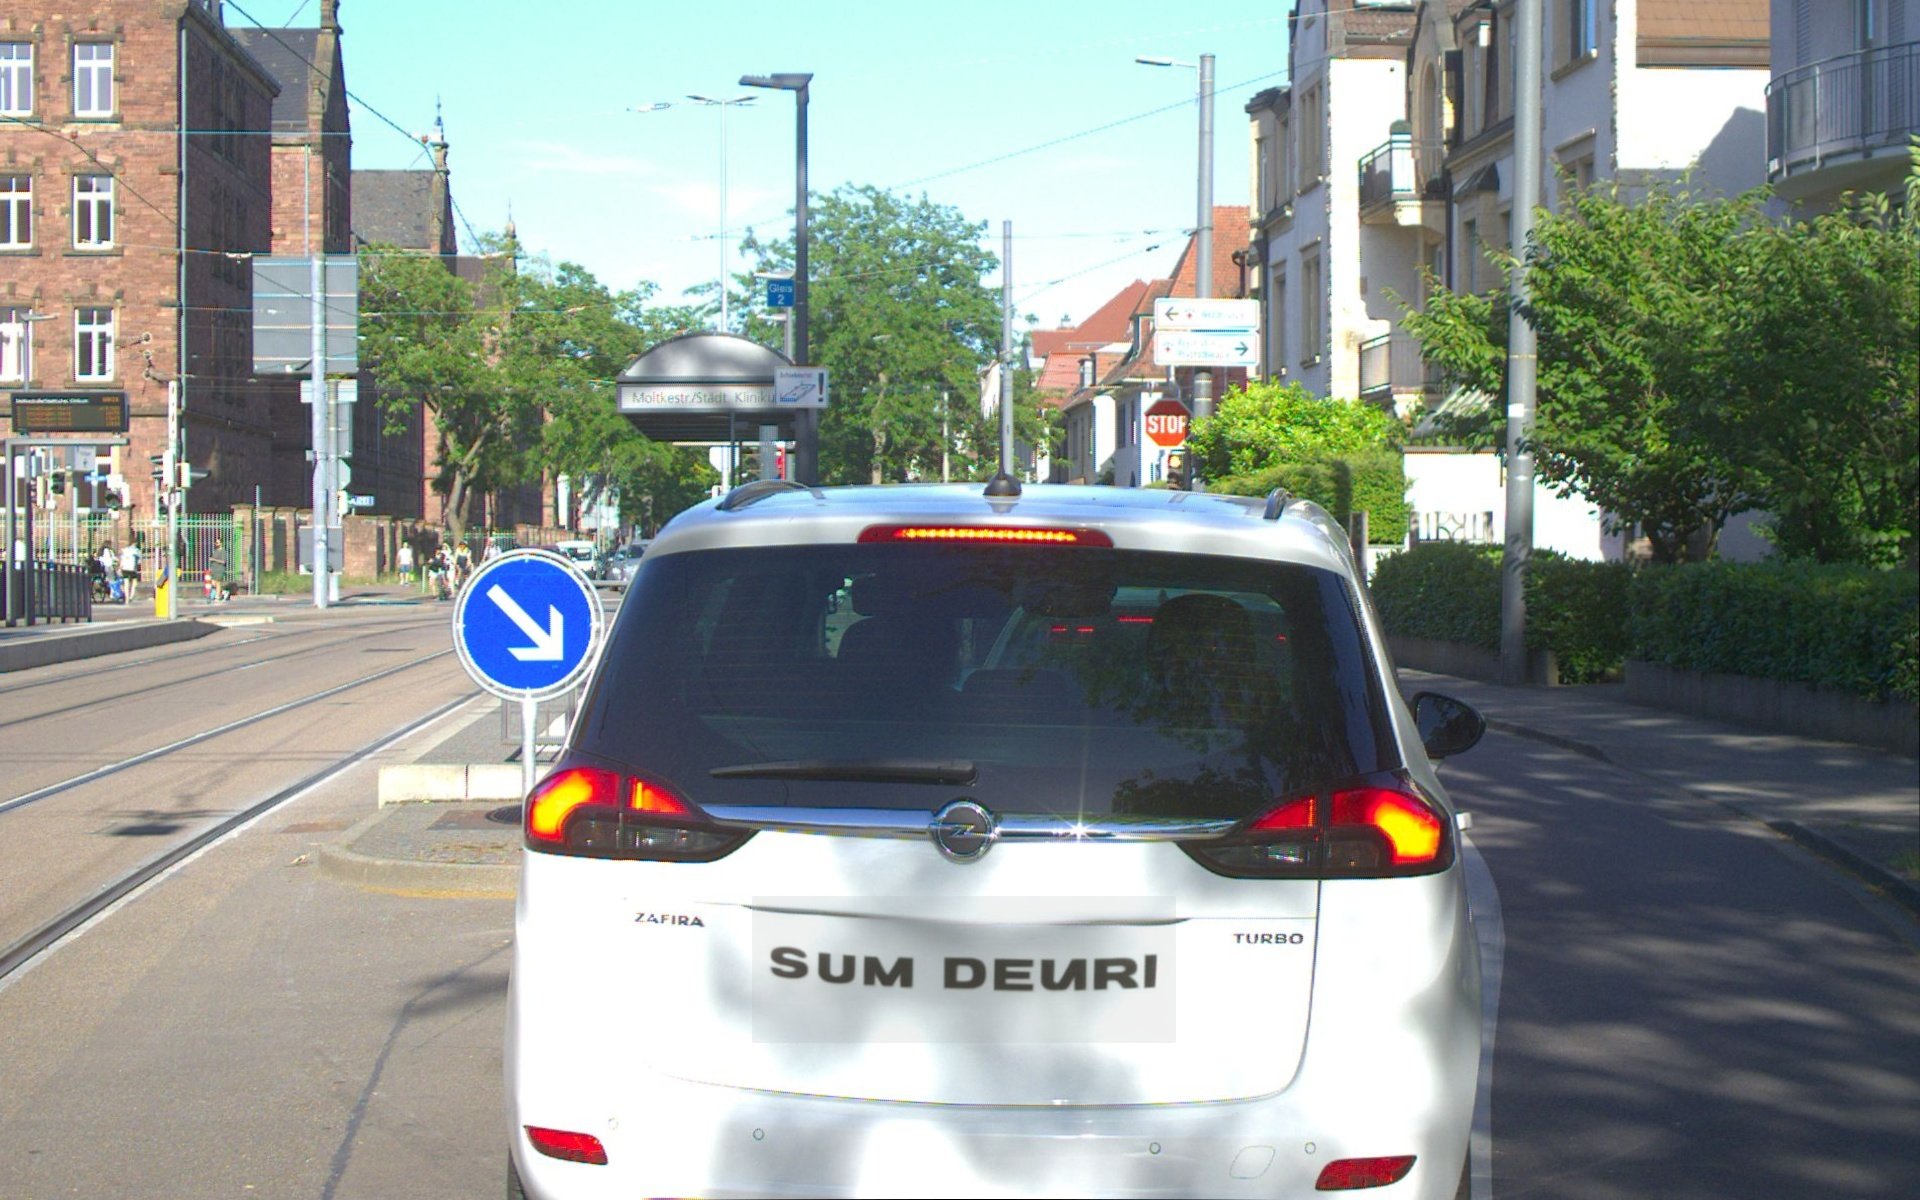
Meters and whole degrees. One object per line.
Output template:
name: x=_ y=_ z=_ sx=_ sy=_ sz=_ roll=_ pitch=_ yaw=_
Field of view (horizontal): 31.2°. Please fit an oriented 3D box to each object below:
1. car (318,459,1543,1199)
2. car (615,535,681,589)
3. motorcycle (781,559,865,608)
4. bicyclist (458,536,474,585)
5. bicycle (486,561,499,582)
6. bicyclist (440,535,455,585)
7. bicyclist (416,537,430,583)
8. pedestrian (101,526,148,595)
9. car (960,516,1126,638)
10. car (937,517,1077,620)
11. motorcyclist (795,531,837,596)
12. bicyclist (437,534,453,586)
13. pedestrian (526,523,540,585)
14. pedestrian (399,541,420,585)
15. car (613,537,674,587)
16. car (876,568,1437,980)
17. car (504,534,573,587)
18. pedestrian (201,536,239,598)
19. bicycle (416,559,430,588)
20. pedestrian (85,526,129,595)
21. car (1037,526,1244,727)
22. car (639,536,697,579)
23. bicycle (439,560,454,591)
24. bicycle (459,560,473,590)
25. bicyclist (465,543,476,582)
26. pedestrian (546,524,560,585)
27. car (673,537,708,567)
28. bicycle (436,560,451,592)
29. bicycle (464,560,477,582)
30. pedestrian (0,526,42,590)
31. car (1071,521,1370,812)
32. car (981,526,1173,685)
car: x=0.136 y=0.581 z=7.604 sx=1.994 sy=1.639 sz=3.992 roll=1 pitch=1 yaw=6
car: x=-9.732 y=-1.199 z=107.312 sx=1.993 sy=1.623 sz=4.001 roll=0 pitch=1 yaw=-5
motorcycle: x=-3.426 y=-0.417 z=86.062 sx=2.069 sy=1.194 sz=0.613 roll=0 pitch=1 yaw=-33
bicyclist: x=-15.685 y=-1.254 z=109.152 sx=0.444 sy=1.548 sz=0.496 roll=0 pitch=1 yaw=-4
bicycle: x=-15.725 y=-0.959 z=115.628 sx=0.344 sy=0.722 sz=0.997 roll=1 pitch=1 yaw=-4
bicyclist: x=-15.889 y=-1.231 z=106.568 sx=0.444 sy=1.548 sz=0.496 roll=0 pitch=1 yaw=-4
bicyclist: x=-17.977 y=-1.347 z=115.098 sx=0.444 sy=1.548 sz=0.496 roll=0 pitch=1 yaw=-4
pedestrian: x=-20.574 y=-0.969 z=84.691 sx=0.895 sy=1.678 sz=1.029 roll=1 pitch=0 yaw=-1
car: x=1.020 y=-0.323 z=44.301 sx=1.993 sy=1.497 sz=4.000 roll=0 pitch=1 yaw=-1
car: x=0.668 y=-0.493 z=51.761 sx=1.993 sy=1.497 sz=4.000 roll=0 pitch=1 yaw=-1
motorcyclist: x=-3.593 y=-0.918 z=85.939 sx=0.842 sy=1.616 sz=0.615 roll=0 pitch=1 yaw=-33
bicyclist: x=-15.471 y=-1.193 z=103.285 sx=0.444 sy=1.548 sz=0.743 roll=0 pitch=1 yaw=-4
pedestrian: x=-13.903 y=-1.488 z=111.946 sx=0.444 sy=2.007 sz=0.496 roll=0 pitch=1 yaw=-4
pedestrian: x=-21.466 y=-1.453 z=134.139 sx=0.734 sy=1.708 sz=0.754 roll=1 pitch=0 yaw=-6
car: x=-10.529 y=-1.282 z=114.419 sx=1.993 sy=1.623 sz=4.001 roll=0 pitch=1 yaw=-5
car: x=0.744 y=0.587 z=13.984 sx=1.953 sy=1.392 sz=4.000 roll=0 pitch=1 yaw=2
car: x=-13.112 y=-1.235 z=107.089 sx=1.993 sy=1.623 sz=4.001 roll=0 pitch=1 yaw=-5
pedestrian: x=-20.652 y=-0.917 z=95.966 sx=0.735 sy=1.708 sz=0.705 roll=1 pitch=0 yaw=22
bicycle: x=-17.982 y=-0.882 z=115.142 sx=0.344 sy=0.946 sz=0.997 roll=1 pitch=0 yaw=-4
pedestrian: x=-21.316 y=-0.985 z=85.934 sx=0.843 sy=1.686 sz=1.029 roll=1 pitch=0 yaw=-1
car: x=1.494 y=0.175 z=29.257 sx=1.637 sy=1.595 sz=3.854 roll=0 pitch=1 yaw=2
car: x=-11.076 y=-1.627 z=130.655 sx=1.993 sy=1.623 sz=4.001 roll=0 pitch=1 yaw=-2
bicycle: x=-15.925 y=-0.767 z=106.617 sx=0.344 sy=0.946 sz=0.997 roll=1 pitch=0 yaw=-4
bicycle: x=-15.694 y=-0.790 z=109.167 sx=0.344 sy=0.946 sz=0.997 roll=1 pitch=0 yaw=-4
bicyclist: x=-16.434 y=-1.264 z=115.425 sx=0.344 sy=1.315 sz=0.405 roll=1 pitch=0 yaw=-4
pedestrian: x=-13.294 y=-1.482 z=112.254 sx=0.444 sy=2.007 sz=0.496 roll=0 pitch=1 yaw=-4
car: x=-16.888 y=-3.004 z=215.892 sx=1.993 sy=1.857 sz=4.000 roll=1 pitch=1 yaw=-2
bicycle: x=-15.479 y=-0.725 z=103.085 sx=0.344 sy=0.946 sz=1.160 roll=1 pitch=0 yaw=-4
bicycle: x=-16.435 y=-0.969 z=115.421 sx=0.344 sy=0.722 sz=0.997 roll=1 pitch=1 yaw=-4
pedestrian: x=-23.354 y=-1.037 z=85.512 sx=0.802 sy=1.583 sz=0.935 roll=1 pitch=0 yaw=-3
car: x=1.492 y=0.328 z=20.829 sx=1.637 sy=1.595 sz=3.854 roll=0 pitch=1 yaw=2
car: x=1.176 y=0.021 z=36.181 sx=1.830 sy=1.574 sz=4.010 roll=0 pitch=1 yaw=-1
